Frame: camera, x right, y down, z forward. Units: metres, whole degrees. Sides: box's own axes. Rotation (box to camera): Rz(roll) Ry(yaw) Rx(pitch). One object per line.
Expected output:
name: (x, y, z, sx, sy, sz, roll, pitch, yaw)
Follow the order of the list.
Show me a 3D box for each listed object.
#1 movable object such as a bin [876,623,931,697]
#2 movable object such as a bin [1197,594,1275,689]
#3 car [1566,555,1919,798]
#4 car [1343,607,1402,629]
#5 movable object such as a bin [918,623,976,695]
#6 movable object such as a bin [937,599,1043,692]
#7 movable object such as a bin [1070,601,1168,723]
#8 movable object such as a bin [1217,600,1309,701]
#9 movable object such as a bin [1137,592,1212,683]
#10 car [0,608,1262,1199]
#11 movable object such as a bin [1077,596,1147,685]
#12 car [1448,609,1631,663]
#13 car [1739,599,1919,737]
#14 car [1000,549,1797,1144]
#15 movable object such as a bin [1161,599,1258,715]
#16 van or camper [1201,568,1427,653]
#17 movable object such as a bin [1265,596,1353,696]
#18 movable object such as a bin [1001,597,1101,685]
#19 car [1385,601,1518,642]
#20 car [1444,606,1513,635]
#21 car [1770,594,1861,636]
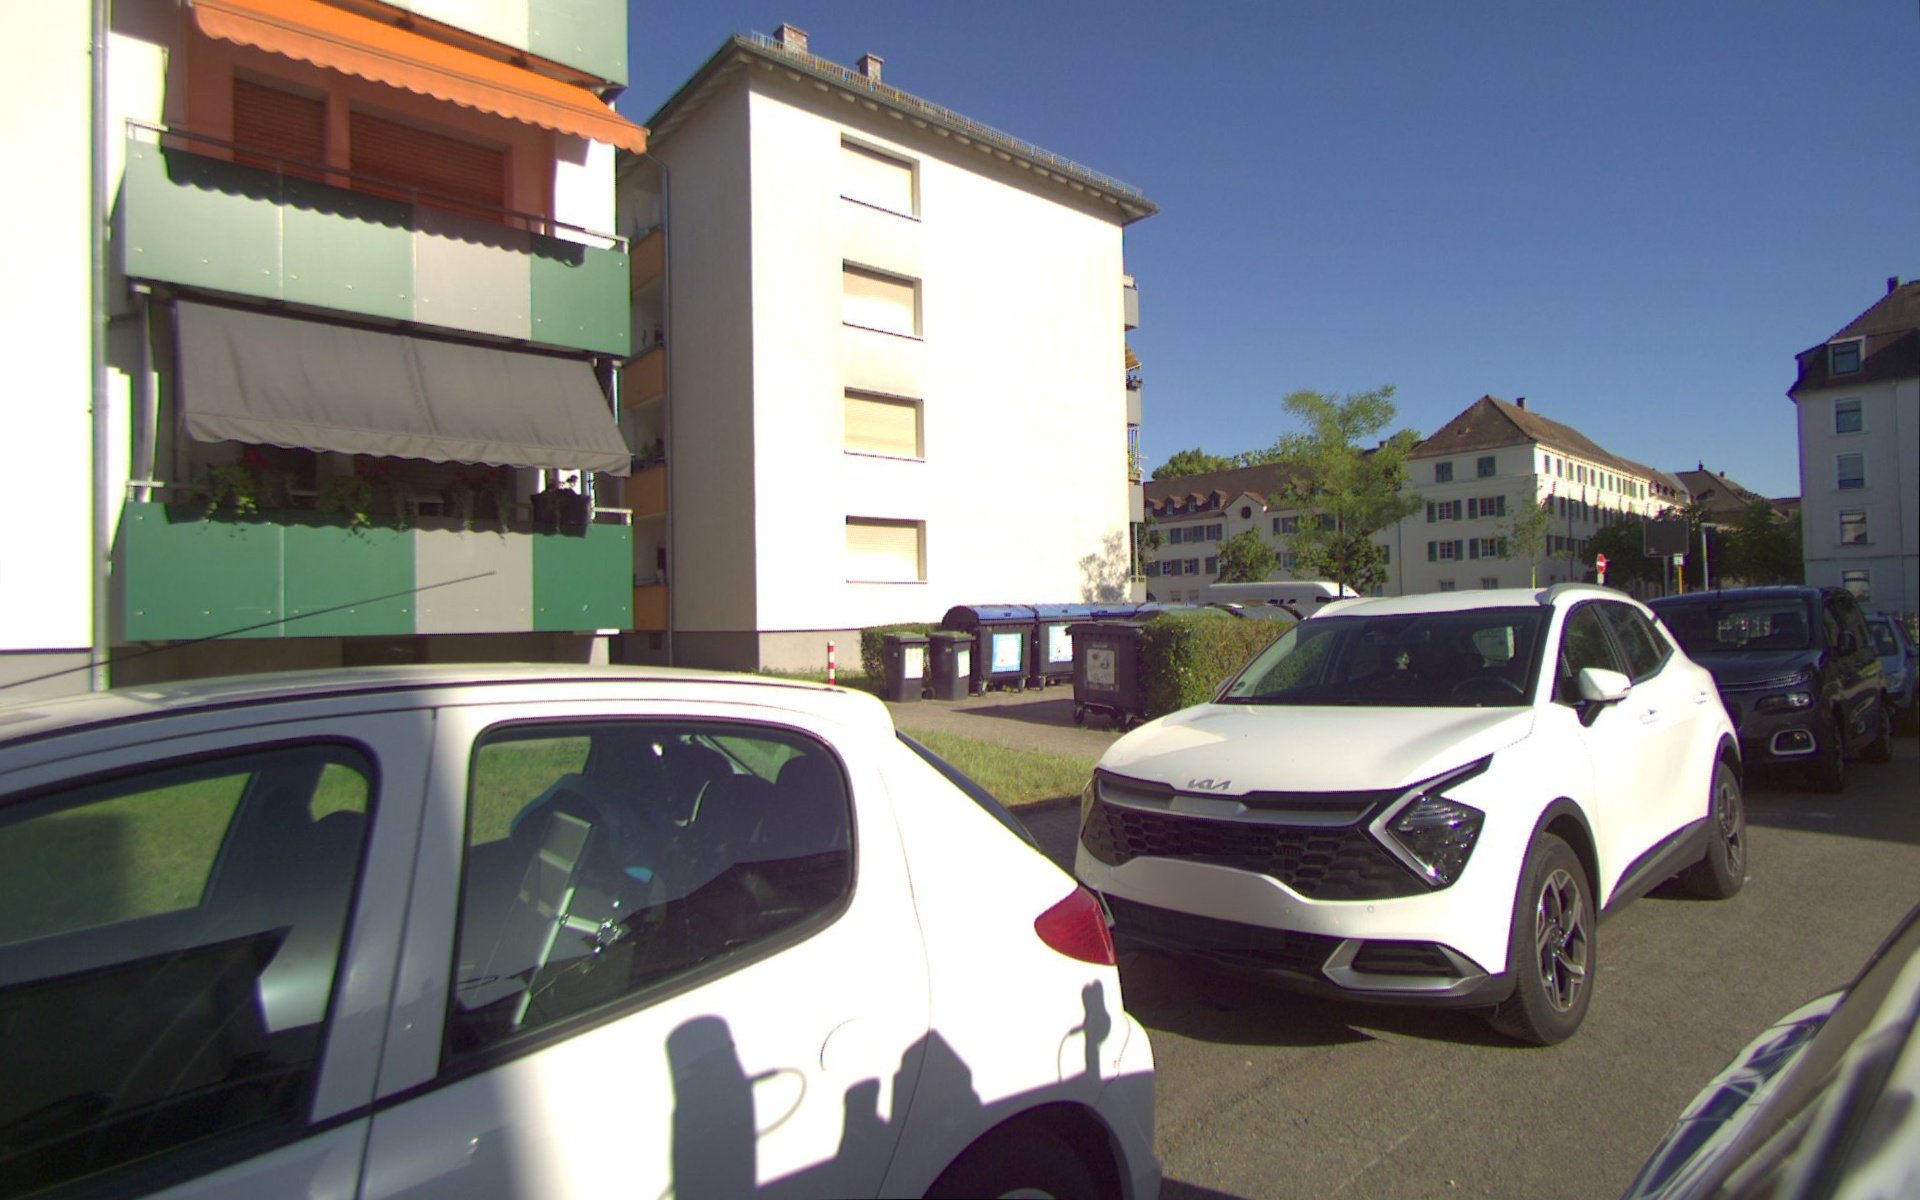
movable object such as a bin: (-0.877, 0.917, 15.695, 0.570, 1.066, 0.627, 0, 1, -43)
movable object such as a bin: (4.419, 0.638, 16.187, 0.907, 1.466, 0.864, 0, -1, -45)
car: (7.646, 0.636, 9.711, 4.180, 1.824, 1.852, 0, -5, -42)
car: (32.564, 1.403, 79.904, 1.619, 1.661, 3.992, 0, -1, -41)
movable object such as a bin: (-0.207, 0.912, 15.987, 0.570, 1.066, 0.717, 0, 1, -43)
movable object such as a bin: (0.501, 0.728, 16.896, 1.257, 1.466, 1.237, 0, -1, -43)
movable object such as a bin: (2.013, 0.749, 12.817, 0.907, 1.466, 0.864, 0, -1, -45)
movable object such as a bin: (4.254, 0.684, 14.203, 0.852, 1.342, 0.920, 0, -1, -42)
movable object such as a bin: (3.594, 0.605, 16.941, 0.907, 1.466, 0.864, 0, -1, -45)
car: (-1.435, 0.794, 1.467, 4.027, 1.437, 1.692, 0, -4, -42)
movable object such as a bin: (2.728, 0.706, 18.161, 0.906, 1.539, 0.865, 0, -1, -42)
car: (15.812, 0.929, 27.769, 1.769, 1.367, 3.996, 0, 0, -38)
car: (11.811, 0.814, 13.337, 3.885, 1.557, 1.725, 0, -4, -43)
car: (2.455, 0.699, 4.954, 4.502, 1.613, 1.802, 0, -3, -42)
movable object such as a bin: (3.309, 0.730, 13.428, 0.852, 1.466, 0.920, 0, -1, -42)
van or camper: (11.476, 0.322, 33.442, 2.137, 2.532, 6.979, 0, 0, -38)
movable object such as a bin: (5.164, 0.653, 14.993, 0.852, 1.416, 0.920, 0, -1, -42)
movable object such as a bin: (1.593, 0.688, 17.749, 1.257, 1.466, 1.237, 0, -1, -43)
car: (17.313, 0.739, 35.779, 1.494, 1.367, 3.996, 0, 0, -38)
car: (37.574, 1.440, 73.368, 1.966, 2.039, 3.992, 0, -1, -42)
car: (31.433, 0.522, 37.300, 1.656, 1.459, 3.766, -1, 0, 26)
